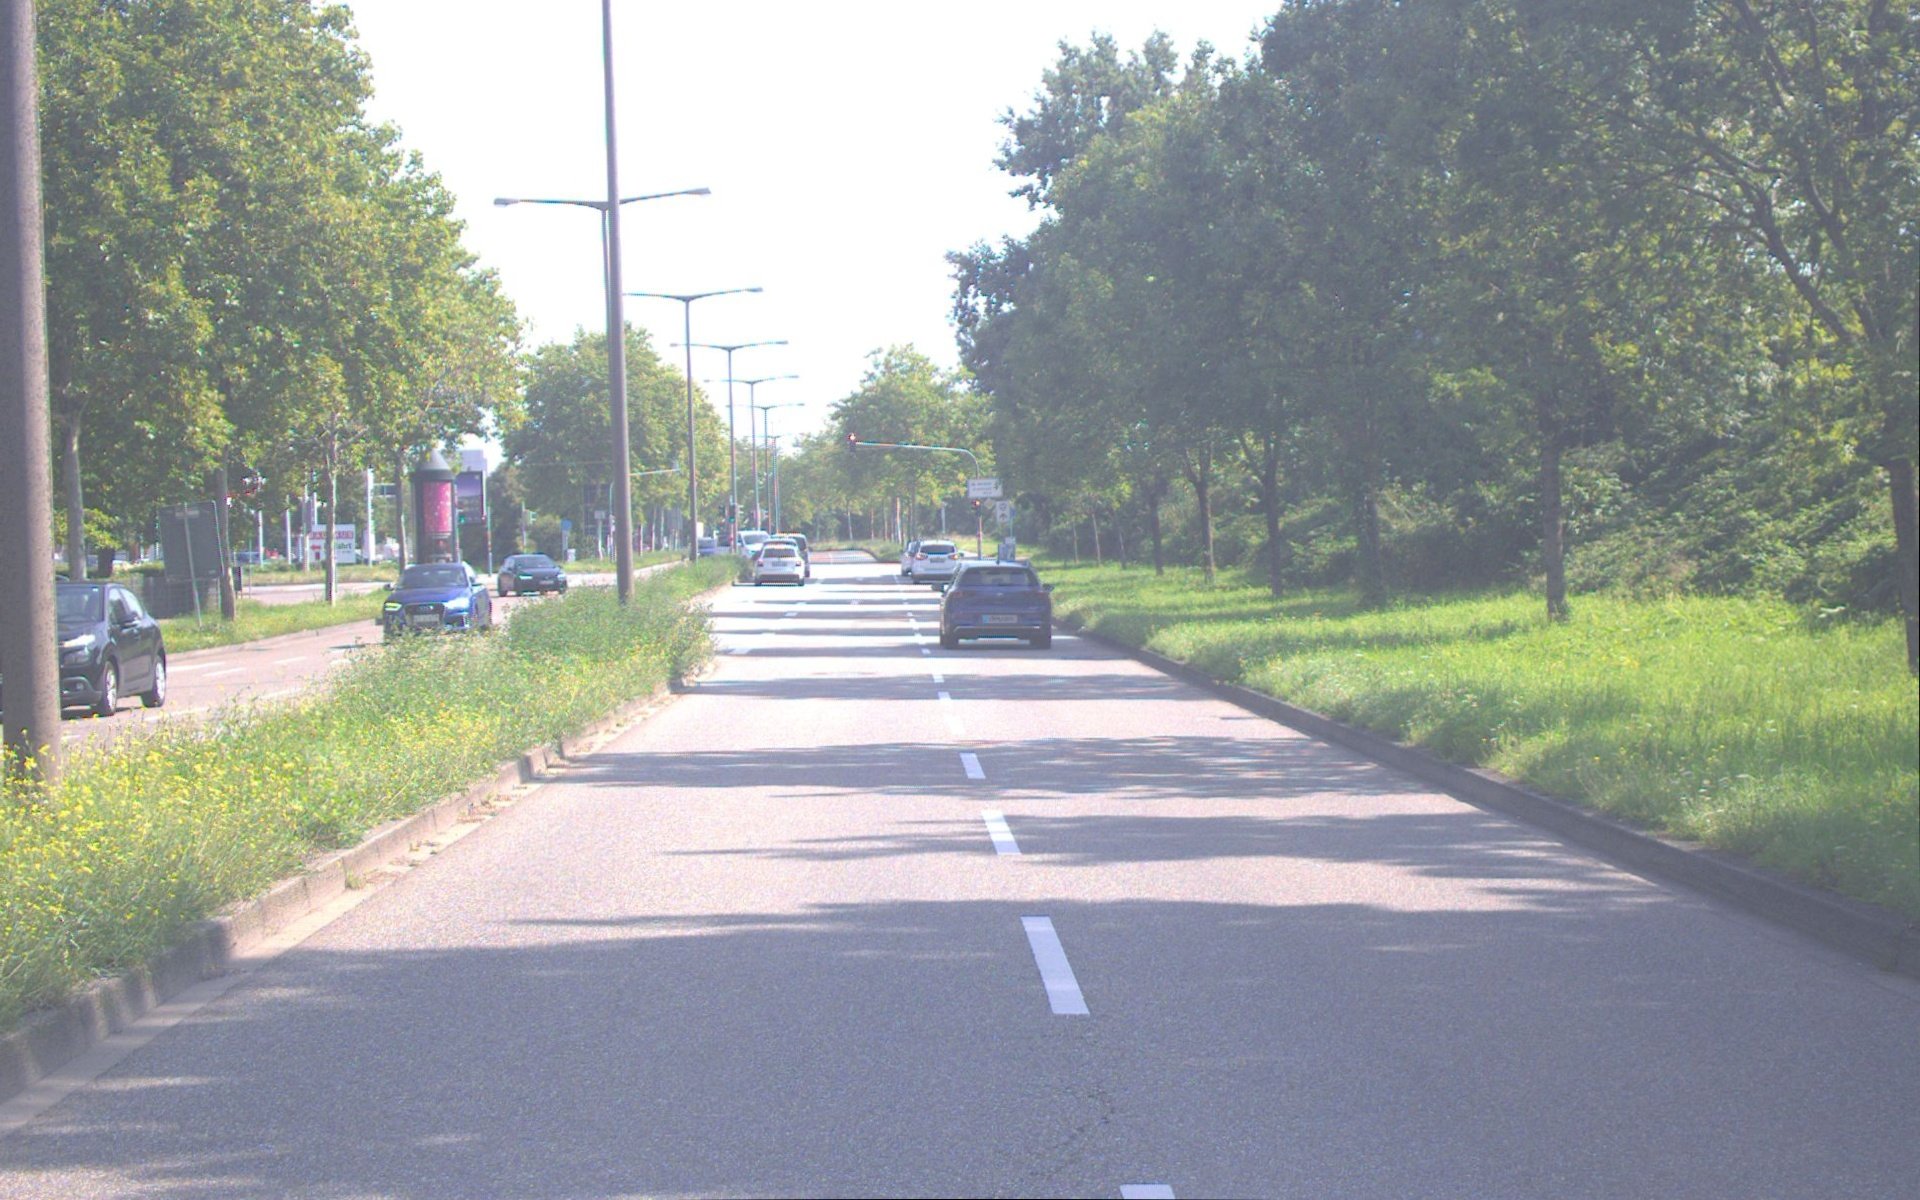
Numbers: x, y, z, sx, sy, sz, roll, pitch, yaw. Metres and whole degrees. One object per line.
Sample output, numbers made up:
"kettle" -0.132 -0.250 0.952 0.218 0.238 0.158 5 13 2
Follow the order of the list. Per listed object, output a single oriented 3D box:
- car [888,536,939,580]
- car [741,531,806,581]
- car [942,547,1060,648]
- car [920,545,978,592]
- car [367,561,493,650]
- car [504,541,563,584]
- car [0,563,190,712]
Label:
"car" -1.996 -1.788 145.786 1.993 1.648 4.001 1 3 -3
"car" -6.670 -1.587 123.542 1.993 1.696 4.000 -2 1 1
"car" 0.645 -0.072 56.495 1.780 1.423 4.001 0 3 -1
"car" -0.428 -1.186 128.073 1.993 1.648 4.000 -2 1 -2
"car" -10.575 0.080 68.860 1.993 1.579 4.347 -4 1 -3
"car" -15.263 -1.329 123.149 1.795 1.412 4.411 -3 1 -4
"car" -9.721 0.369 37.442 1.705 1.484 4.313 -1 1 -1
